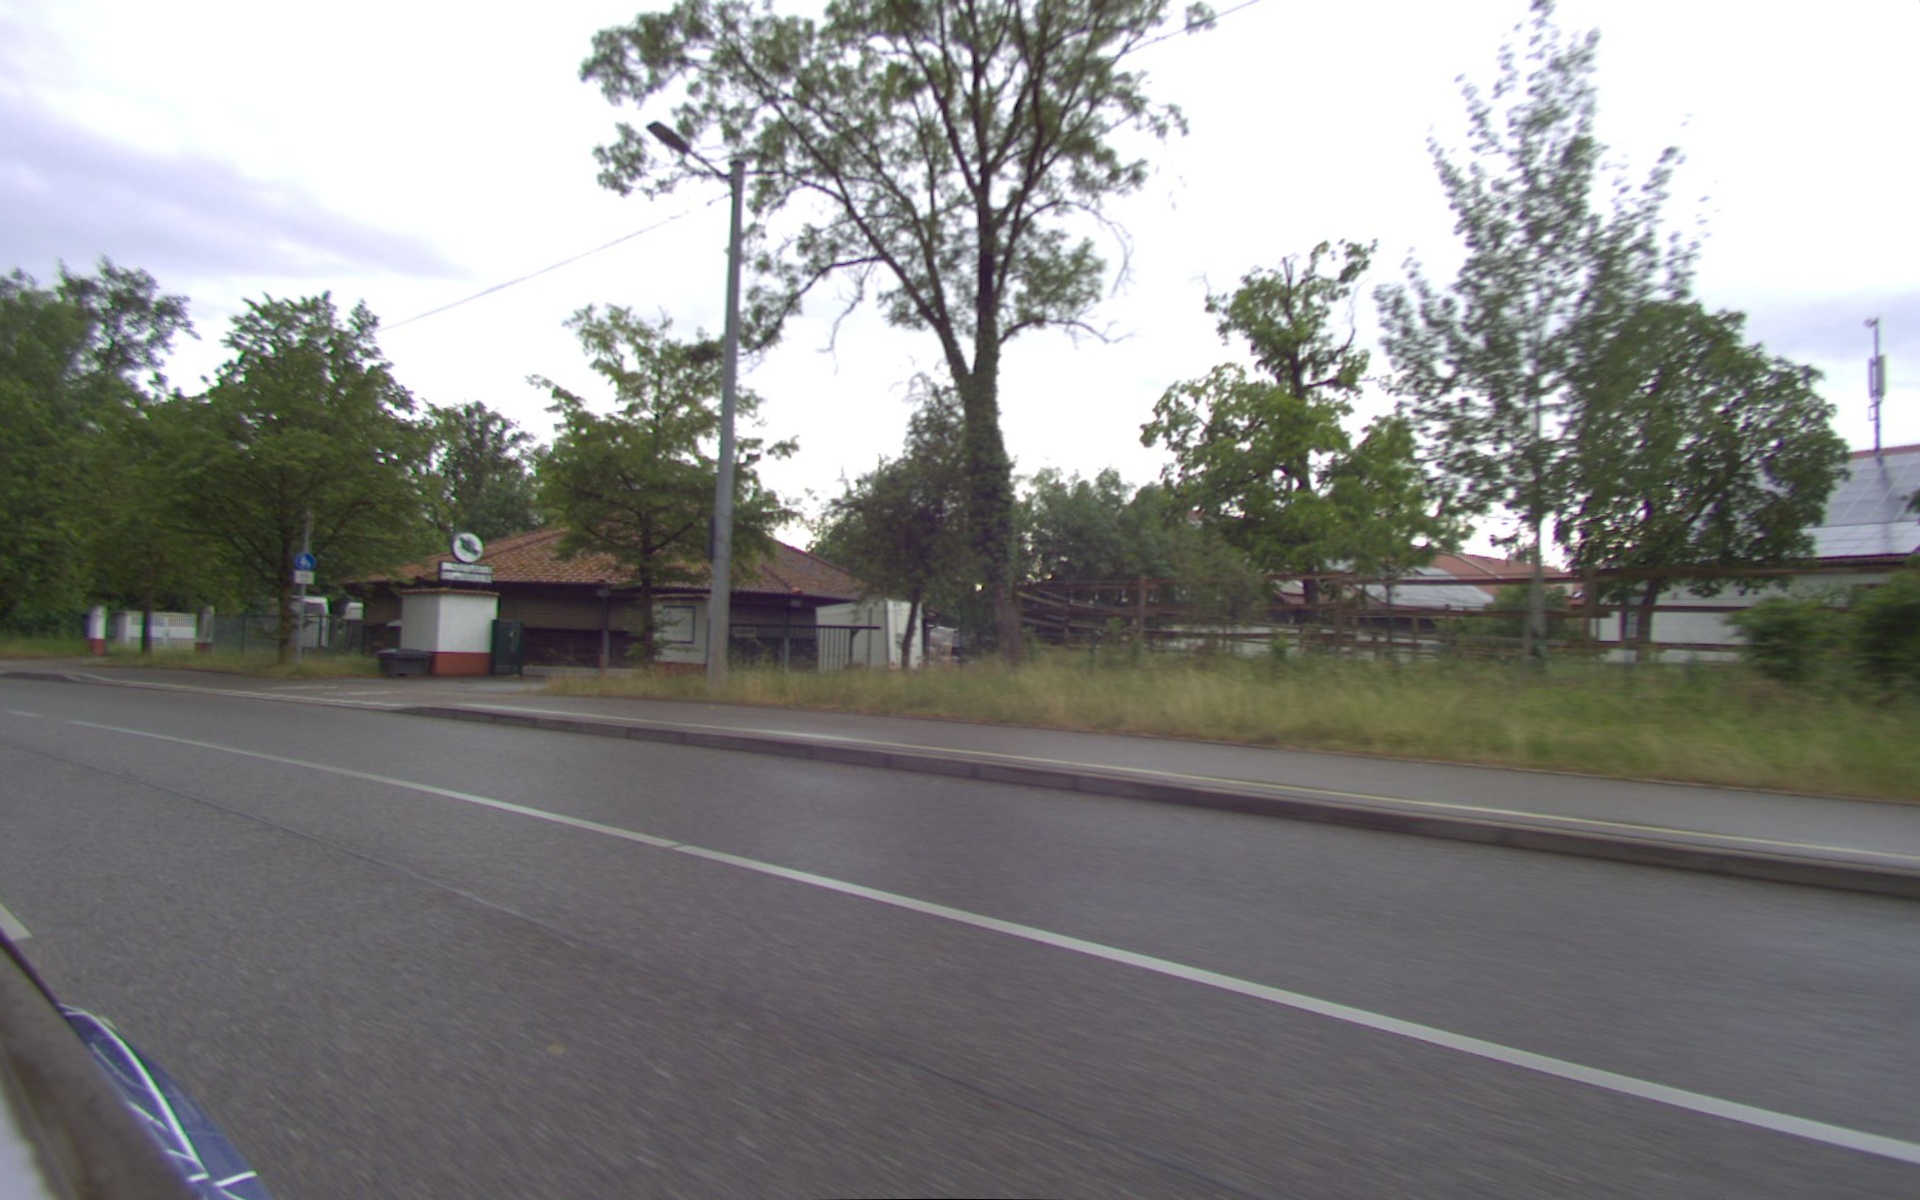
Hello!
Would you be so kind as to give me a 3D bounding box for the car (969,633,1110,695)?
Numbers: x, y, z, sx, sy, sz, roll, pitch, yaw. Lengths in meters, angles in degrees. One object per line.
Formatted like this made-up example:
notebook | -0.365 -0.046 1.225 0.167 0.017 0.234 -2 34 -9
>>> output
car | 2.429 1.883 30.705 3.934 1.724 1.937 2 -1 -36
